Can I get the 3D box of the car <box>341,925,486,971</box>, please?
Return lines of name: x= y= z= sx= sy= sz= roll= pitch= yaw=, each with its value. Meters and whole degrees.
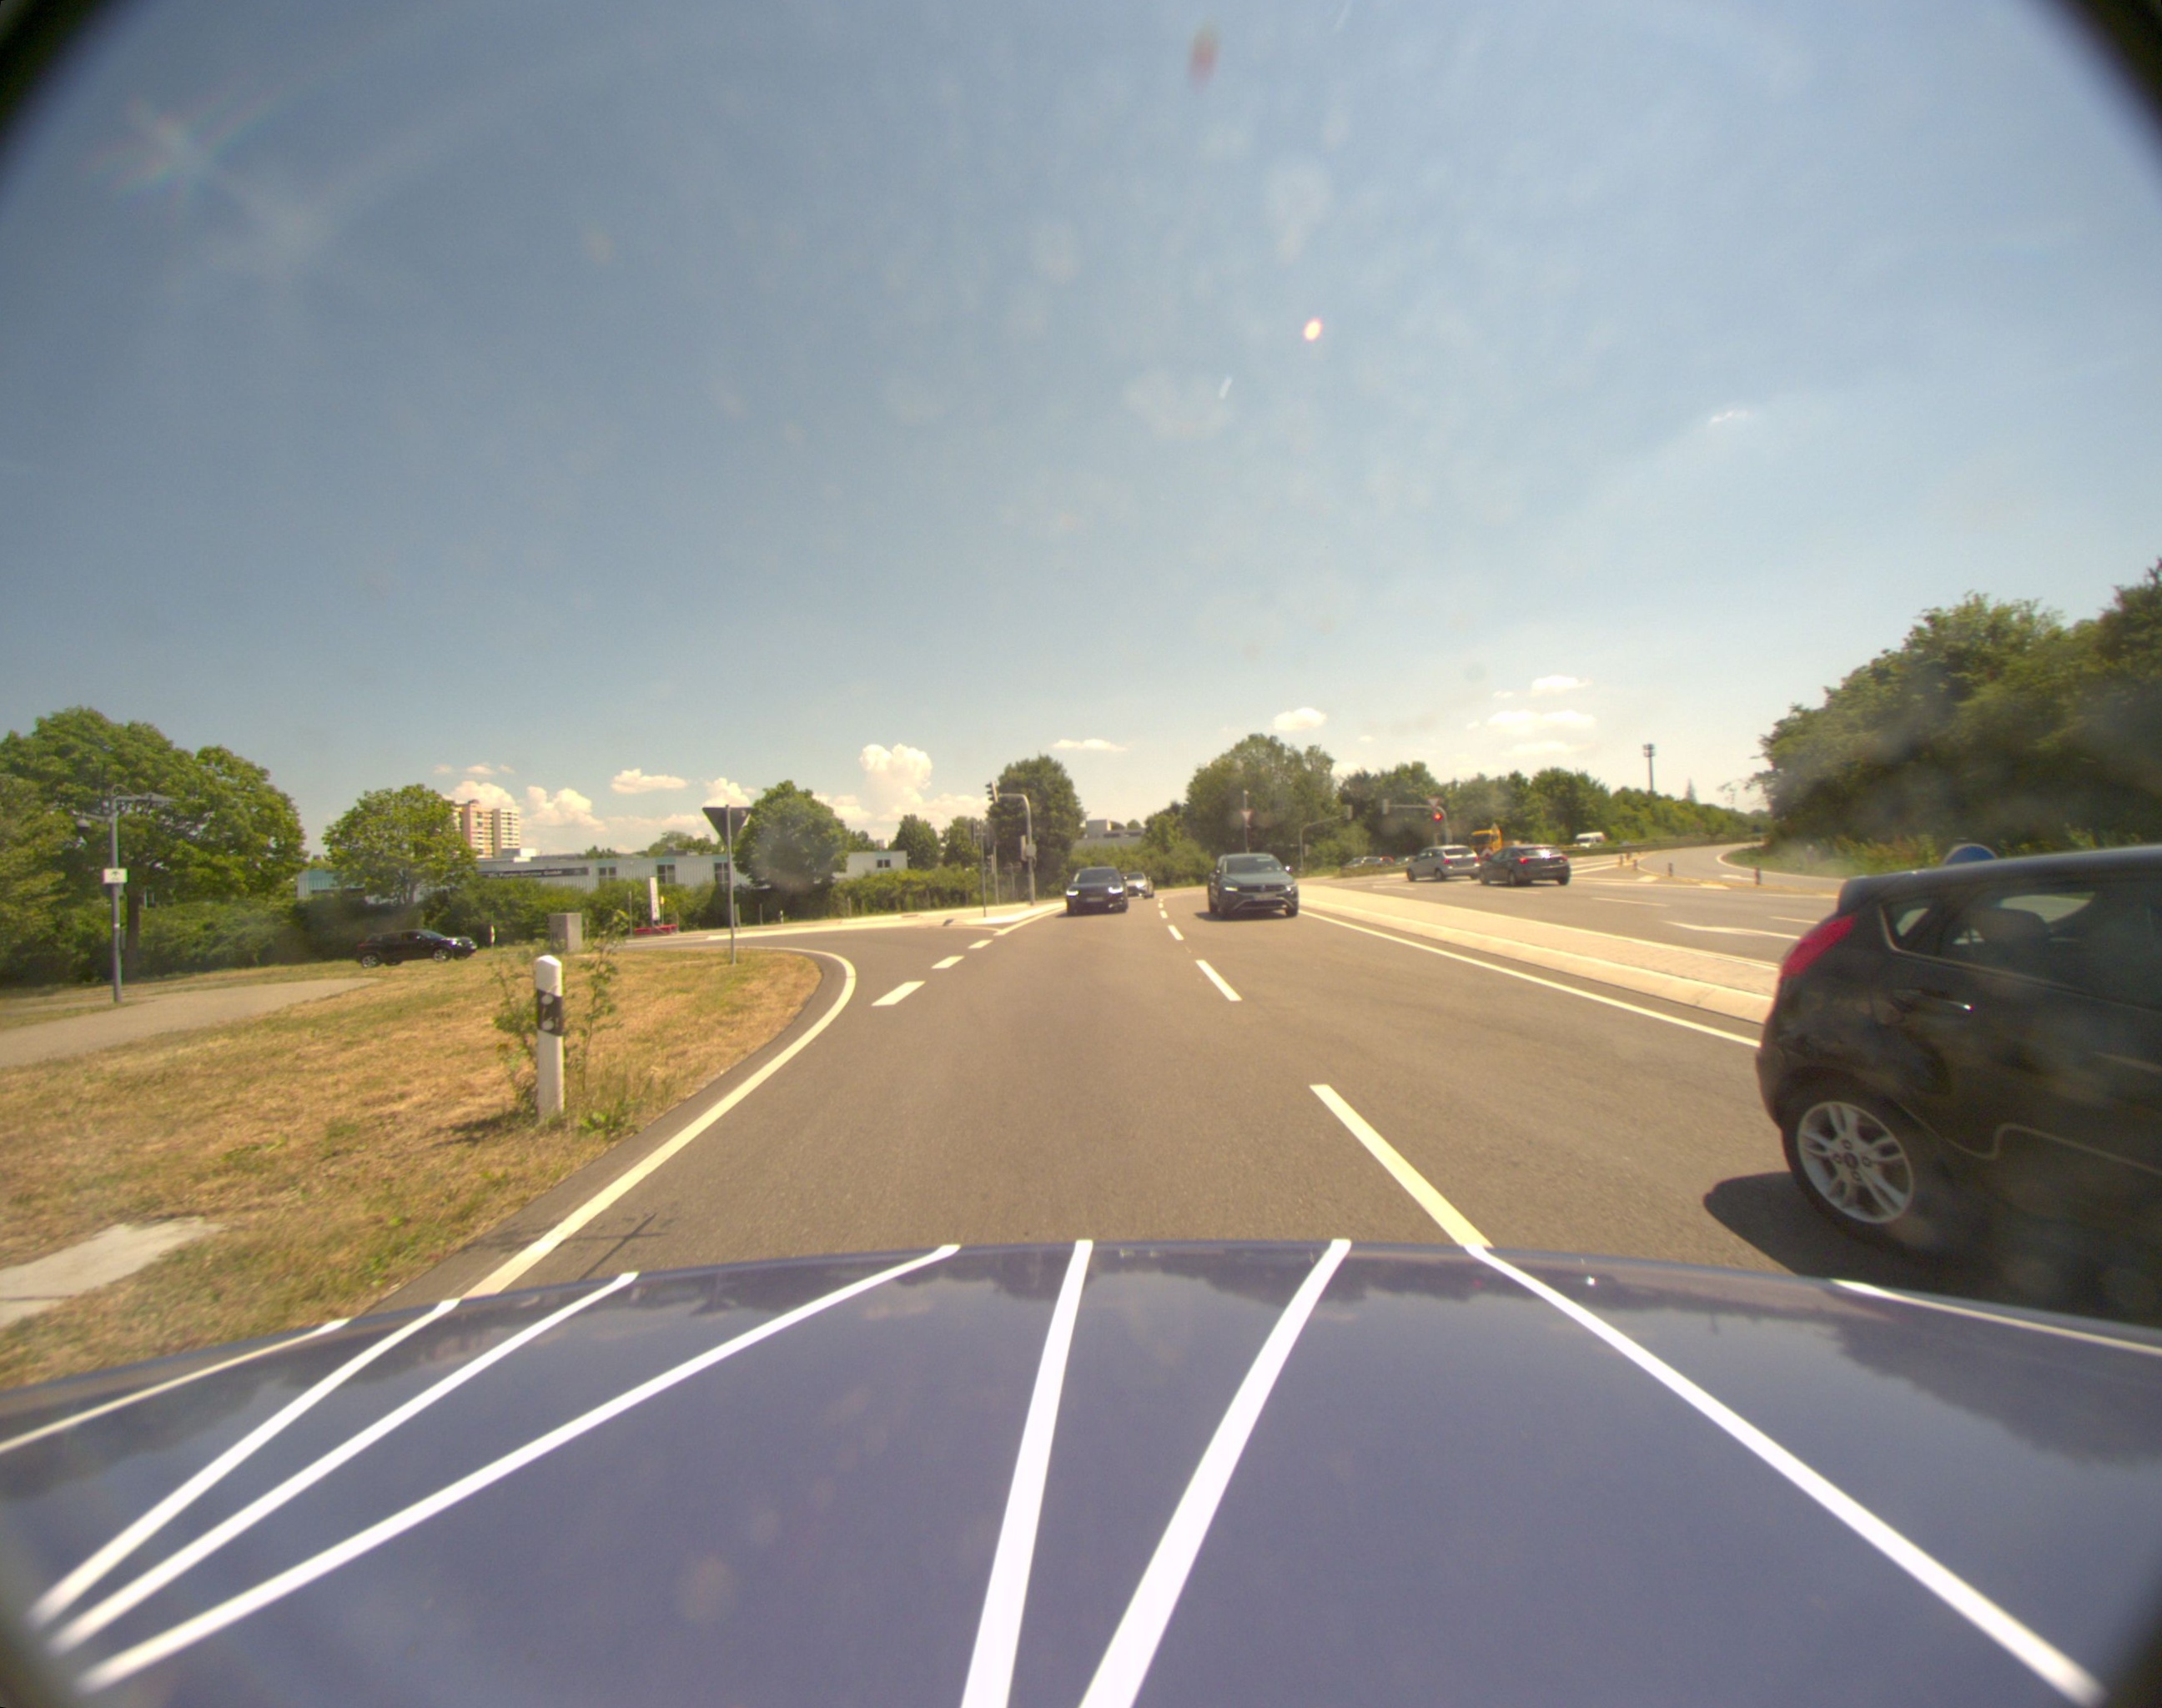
car: x=-29.333 y=4.094 z=33.531 sx=4.356 sy=1.589 sz=1.936 roll=-2 pitch=-2 yaw=-16

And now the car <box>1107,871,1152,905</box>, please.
car: x=2.593 y=1.749 z=39.699 sx=1.932 sy=1.576 sz=4.183 roll=-3 pitch=-2 yaw=8

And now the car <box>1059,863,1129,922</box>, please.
car: x=0.498 y=1.110 z=23.072 sx=1.779 sy=1.497 sz=4.563 roll=-4 pitch=-1 yaw=4

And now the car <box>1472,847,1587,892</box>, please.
car: x=16.049 y=0.580 z=27.477 sx=1.997 sy=1.430 sz=4.225 roll=-3 pitch=-2 yaw=7

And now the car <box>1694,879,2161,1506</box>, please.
car: x=3.429 y=0.817 z=1.149 sx=1.657 sy=1.484 sz=4.209 roll=-1 pitch=-1 yaw=1

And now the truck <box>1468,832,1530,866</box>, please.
truck: x=46.730 y=-0.531 z=84.939 sx=6.868 sy=3.516 sz=2.980 roll=-1 pitch=-2 yaw=-32

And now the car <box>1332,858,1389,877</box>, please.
car: x=23.222 y=1.094 z=63.129 sx=4.458 sy=1.581 sz=2.114 roll=0 pitch=0 yaw=-30

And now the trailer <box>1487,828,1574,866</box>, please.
trailer: x=52.604 y=-0.889 z=88.714 sx=13.195 sy=4.038 sz=3.067 roll=-1 pitch=-2 yaw=-33

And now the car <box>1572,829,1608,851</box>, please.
car: x=65.229 y=-1.778 z=97.343 sx=5.491 sy=2.591 sz=2.164 roll=-1 pitch=-2 yaw=-38

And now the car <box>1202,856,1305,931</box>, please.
car: x=4.146 y=0.913 z=18.924 sx=1.838 sy=1.577 sz=4.393 roll=-2 pitch=-1 yaw=5

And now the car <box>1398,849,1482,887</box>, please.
car: x=16.576 y=0.695 z=35.359 sx=1.612 sy=1.589 sz=4.354 roll=-3 pitch=-2 yaw=-3
